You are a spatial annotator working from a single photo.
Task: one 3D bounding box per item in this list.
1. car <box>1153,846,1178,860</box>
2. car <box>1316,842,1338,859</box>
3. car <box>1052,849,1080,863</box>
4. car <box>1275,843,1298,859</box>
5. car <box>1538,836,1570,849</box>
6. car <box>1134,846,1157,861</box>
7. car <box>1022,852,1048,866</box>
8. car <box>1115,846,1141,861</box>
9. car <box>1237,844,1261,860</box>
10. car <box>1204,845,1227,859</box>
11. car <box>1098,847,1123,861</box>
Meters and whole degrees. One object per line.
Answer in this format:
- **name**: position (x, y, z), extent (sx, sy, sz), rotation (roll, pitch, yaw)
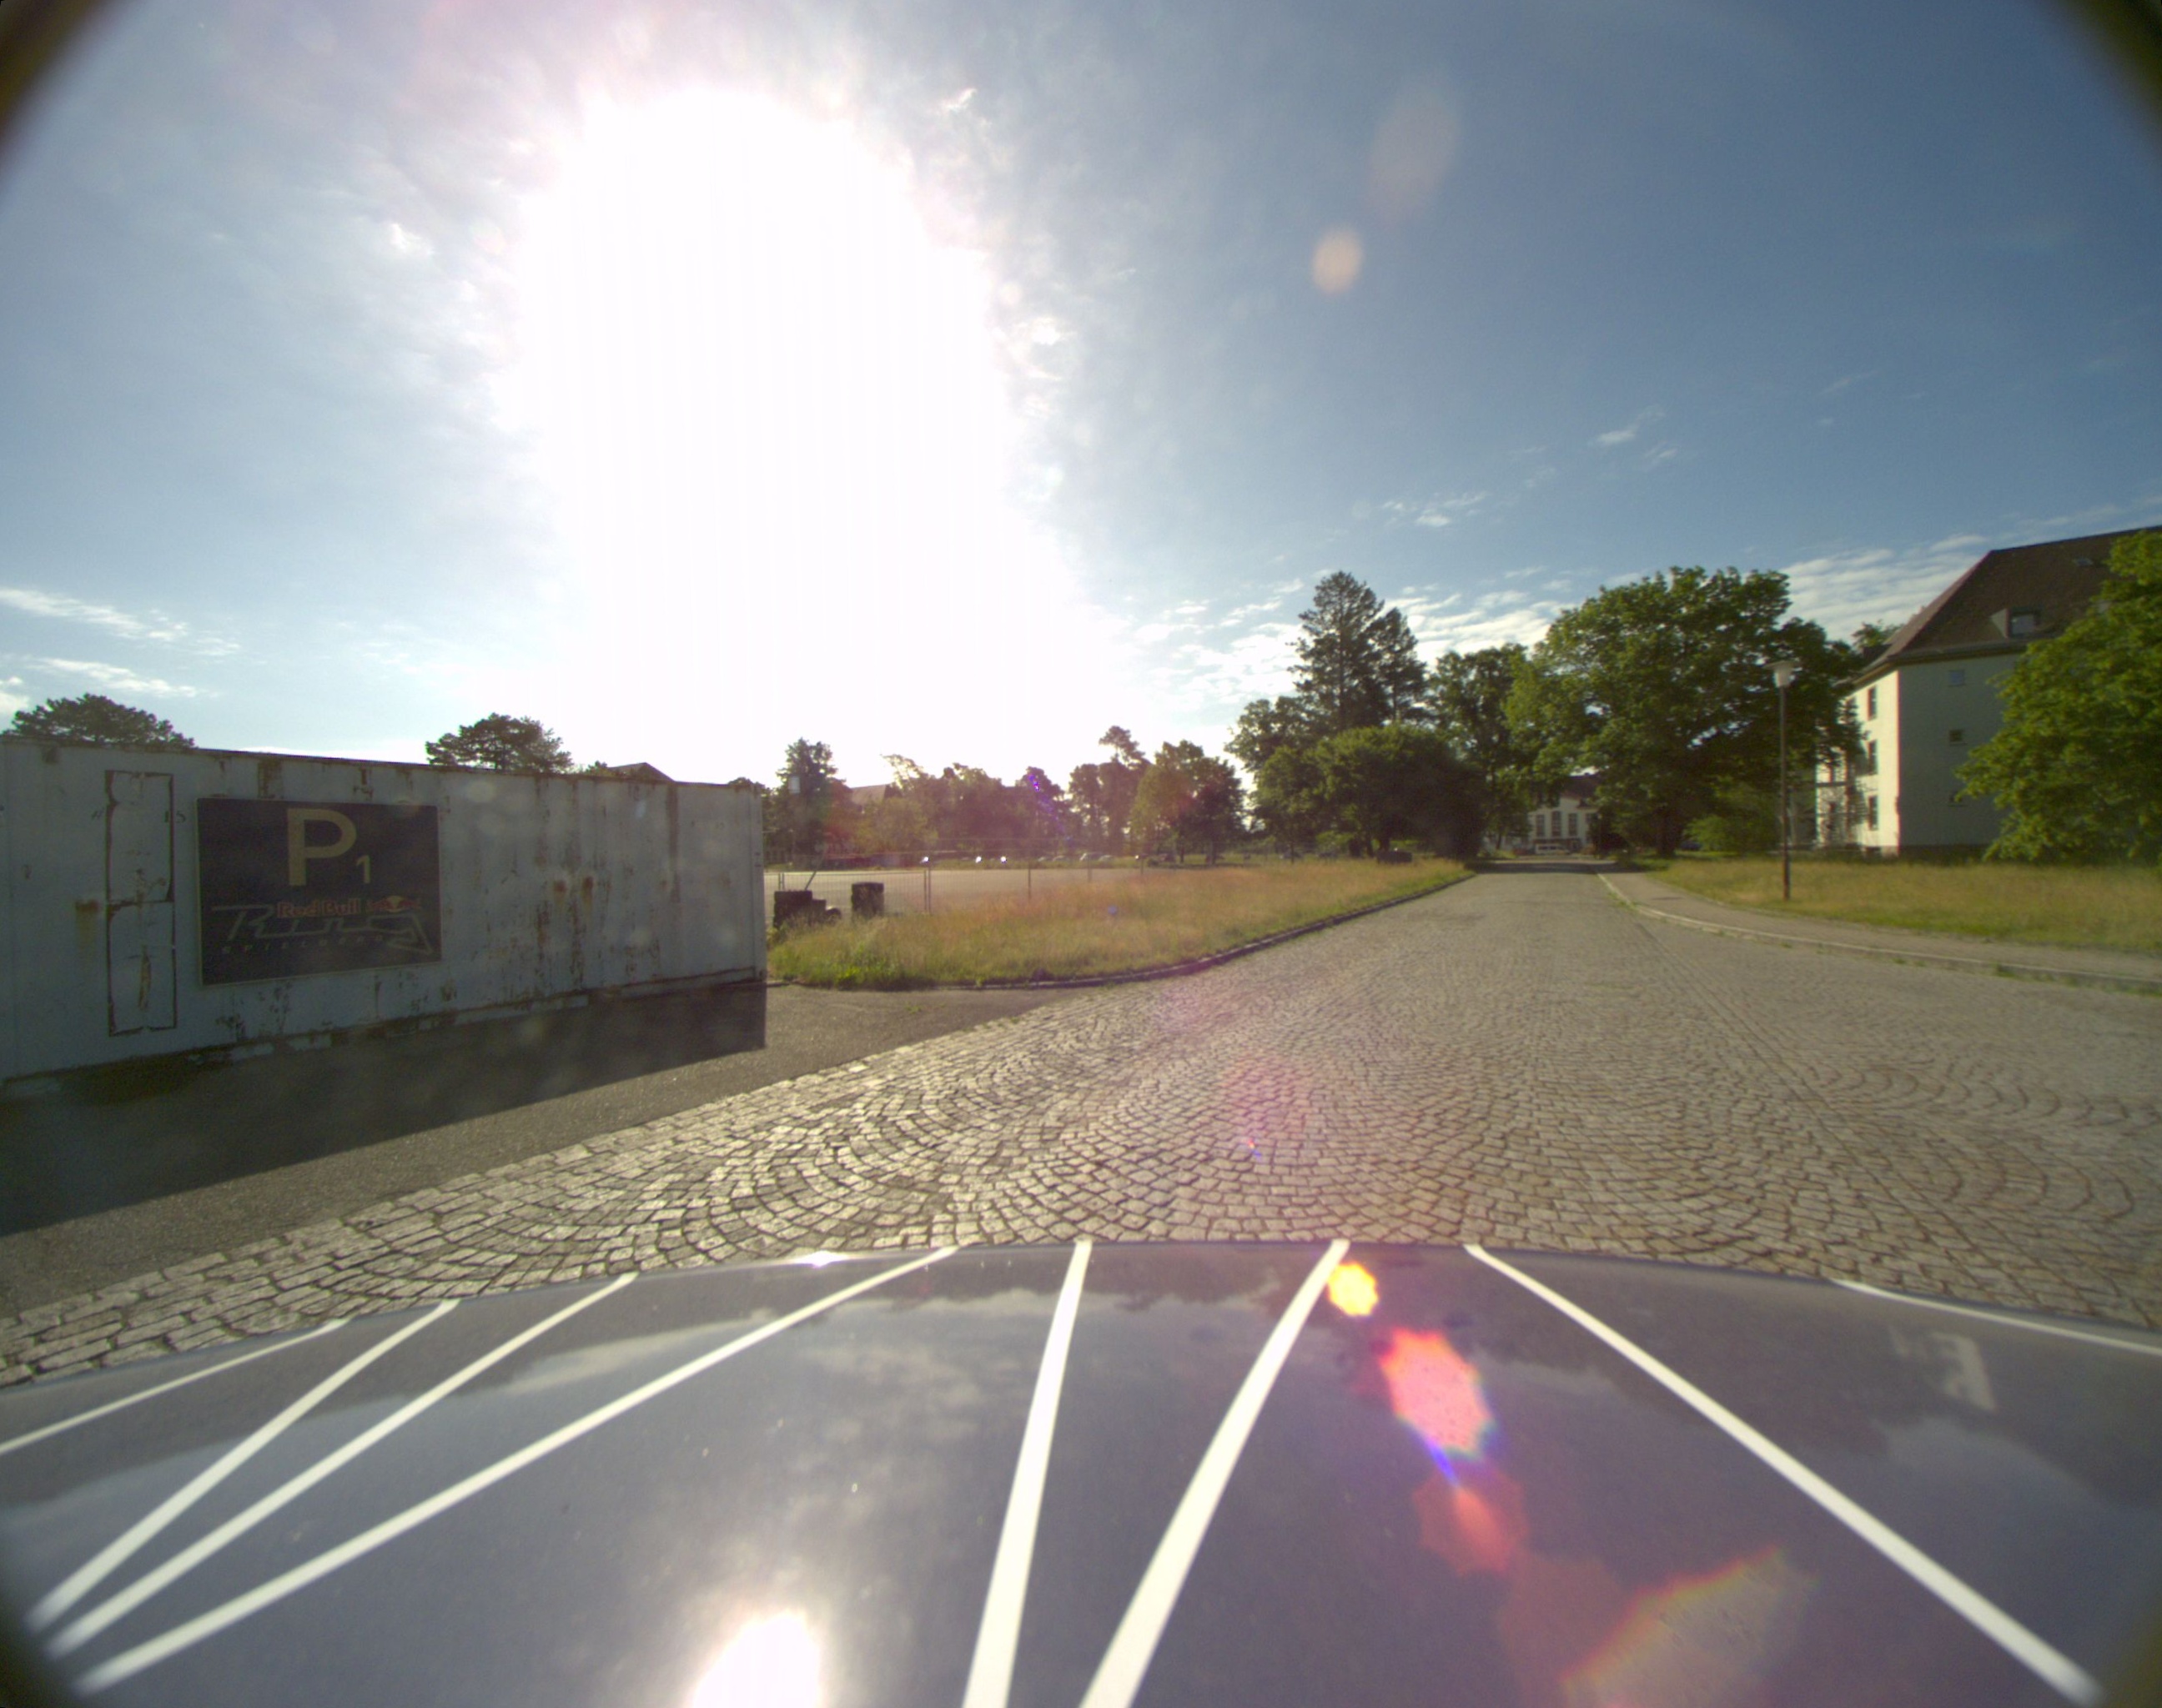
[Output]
- **car**: position (11.862, -0.148, 106.499), extent (1.994, 2.002, 4.007), rotation (-1, 1, 31)
- **car**: position (30.482, -0.467, 93.941), extent (1.995, 2.002, 4.007), rotation (-1, 0, 26)
- **car**: position (-2.306, 0.293, 115.617), extent (1.995, 2.001, 4.008), rotation (-4, -1, 39)
- **car**: position (26.251, -0.419, 96.919), extent (1.995, 2.002, 4.007), rotation (-1, 0, 26)
- **car**: position (83.563, -2.052, 134.253), extent (4.860, 2.083, 2.004), rotation (-1, 1, 32)
- **car**: position (9.206, -0.079, 107.817), extent (1.995, 2.002, 4.006), rotation (-1, 1, 24)
- **car**: position (-7.102, 0.788, 118.701), extent (1.995, 2.001, 4.007), rotation (-4, -1, 31)
- **car**: position (6.929, -0.089, 111.176), extent (1.994, 2.002, 4.008), rotation (-1, 1, 32)
- **car**: position (22.213, -0.296, 100.252), extent (1.995, 2.002, 4.007), rotation (-1, 1, 30)
- **car**: position (18.099, -0.307, 102.419), extent (1.995, 1.805, 4.007), rotation (-1, 1, 26)
- **car**: position (4.293, 0.010, 111.503), extent (1.995, 1.936, 4.007), rotation (-1, 1, 30)
